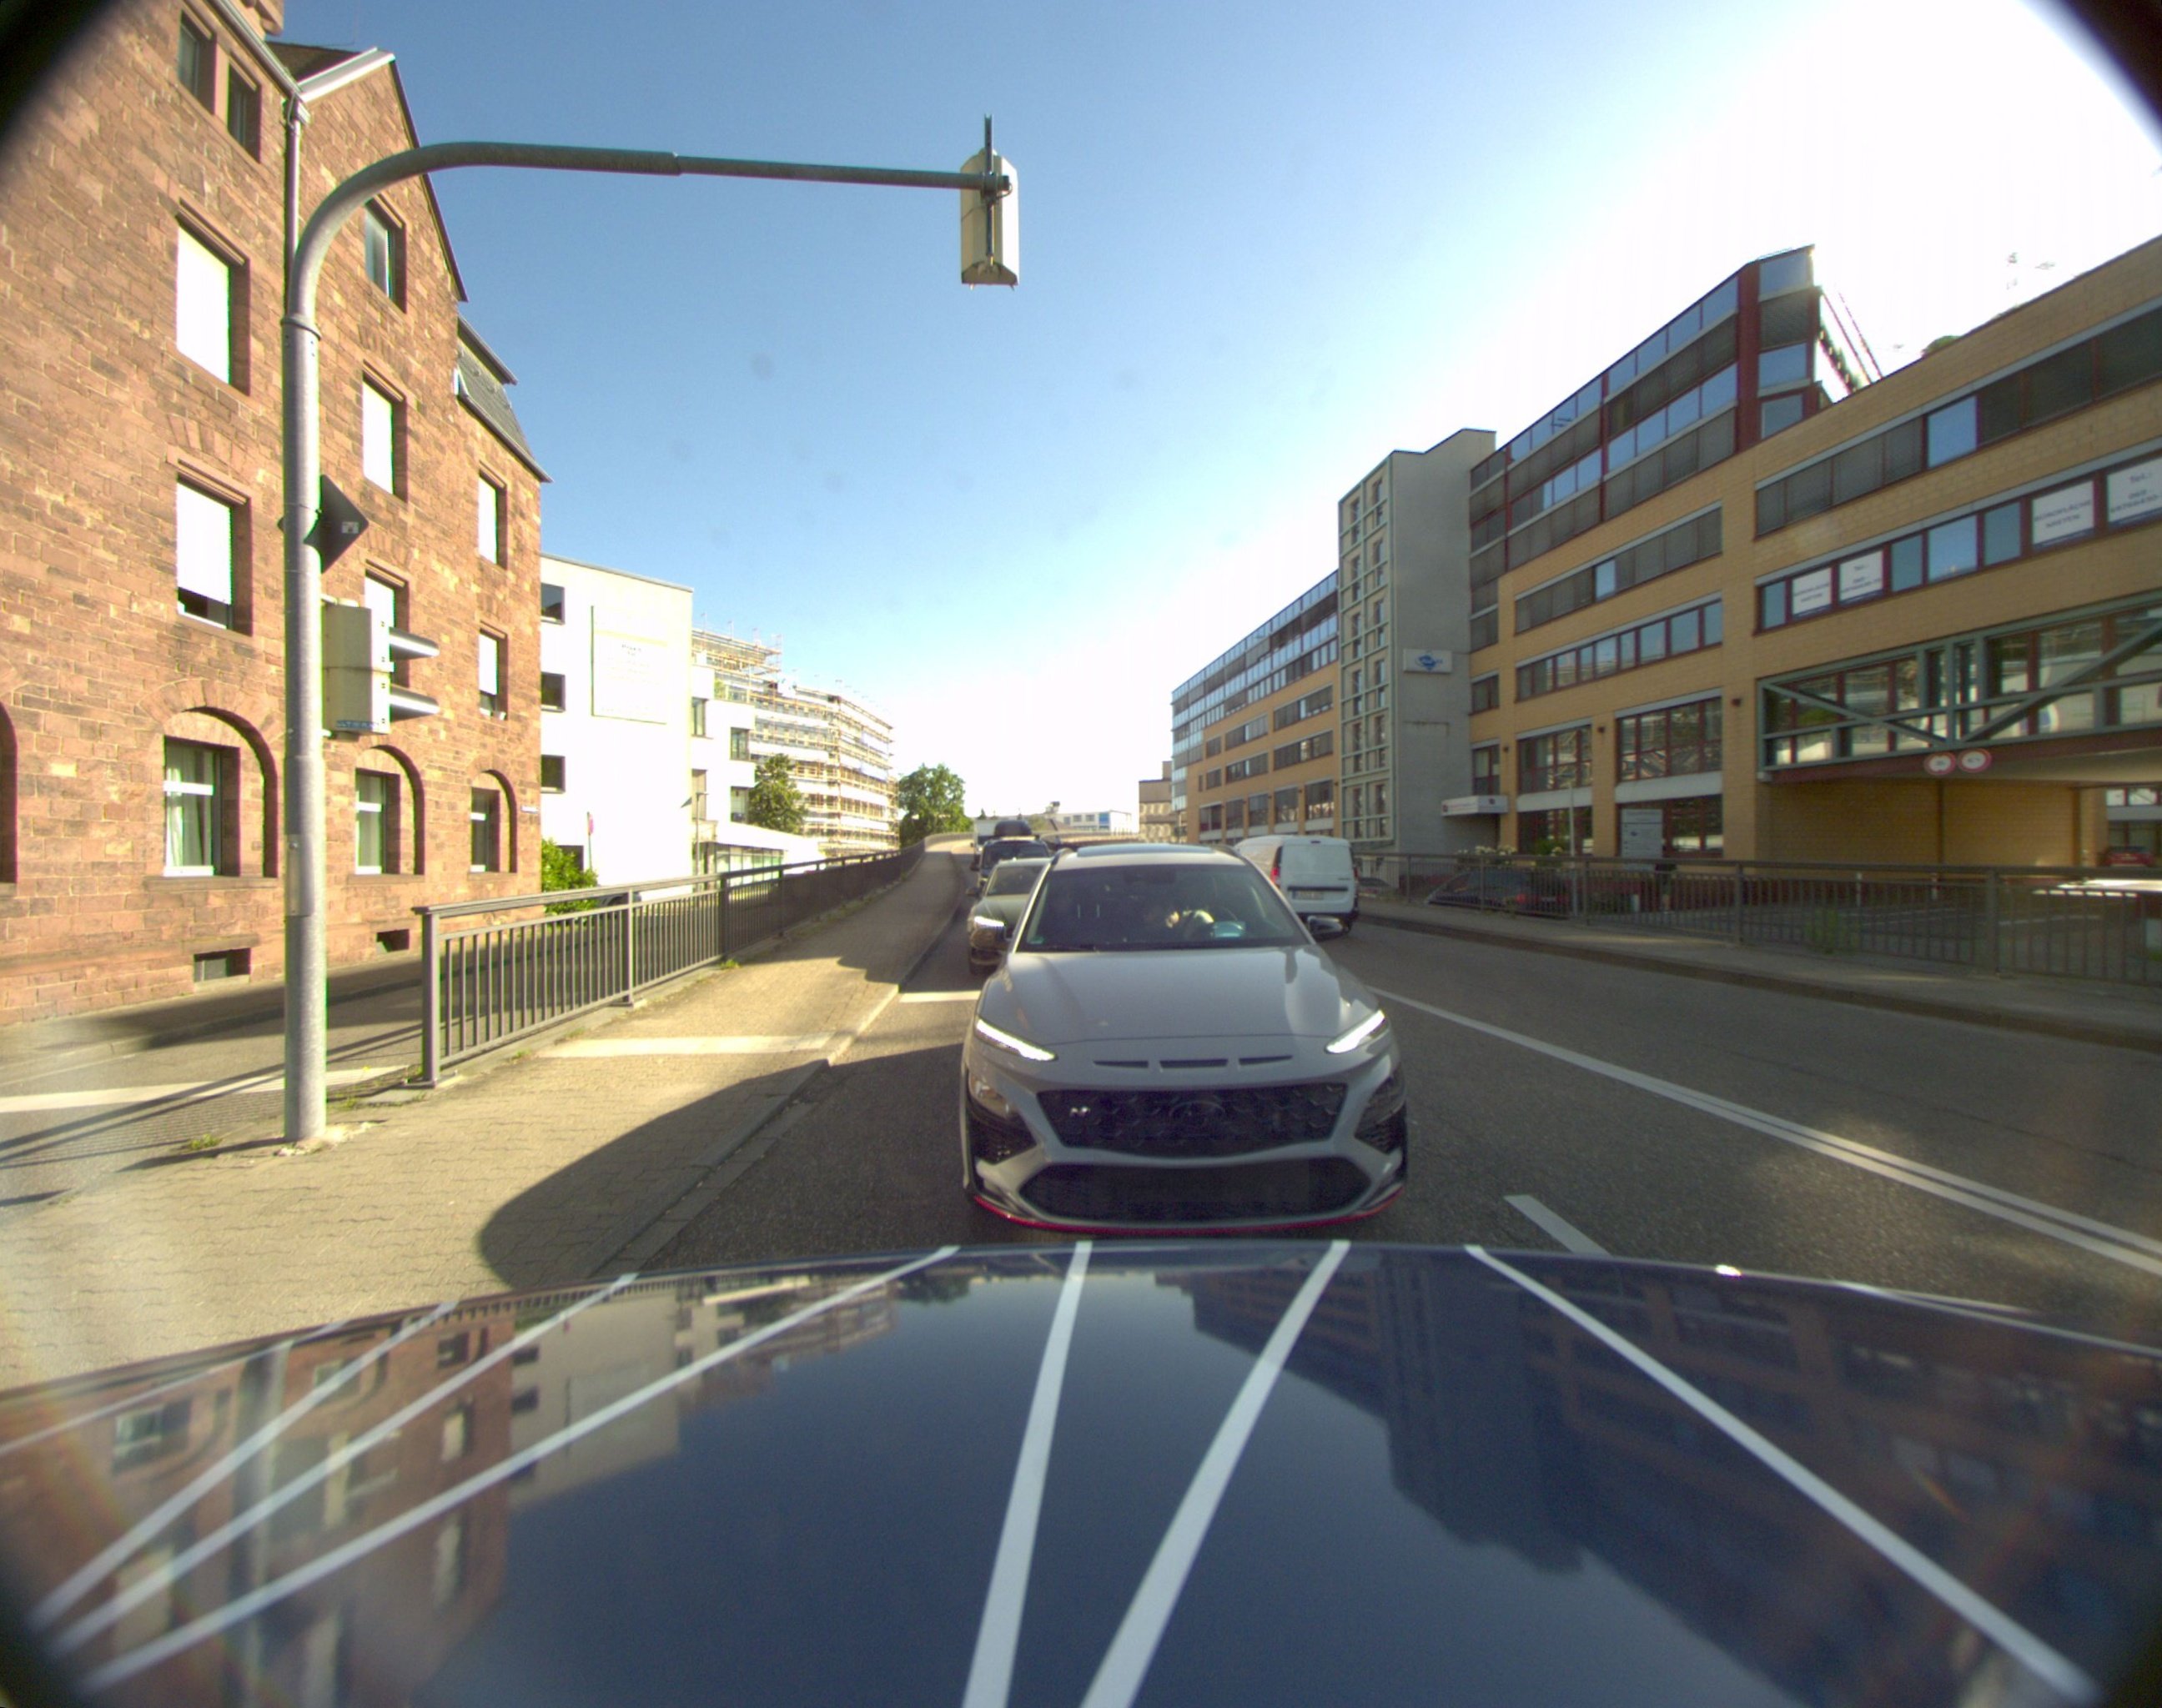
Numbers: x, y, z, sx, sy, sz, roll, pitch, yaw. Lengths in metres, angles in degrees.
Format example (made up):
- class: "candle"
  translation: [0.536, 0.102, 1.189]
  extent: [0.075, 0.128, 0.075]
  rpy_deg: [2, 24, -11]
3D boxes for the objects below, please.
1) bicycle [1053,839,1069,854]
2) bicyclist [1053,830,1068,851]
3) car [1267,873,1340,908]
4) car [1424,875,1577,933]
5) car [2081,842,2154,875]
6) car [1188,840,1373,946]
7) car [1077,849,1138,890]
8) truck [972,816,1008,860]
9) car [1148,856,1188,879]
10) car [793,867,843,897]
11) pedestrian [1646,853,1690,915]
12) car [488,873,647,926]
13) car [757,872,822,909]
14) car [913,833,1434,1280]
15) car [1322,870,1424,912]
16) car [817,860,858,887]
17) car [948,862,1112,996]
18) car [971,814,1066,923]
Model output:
- class: "bicycle"
  translation: [-1.815, -0.659, 68.090]
  extent: [1.083, 1.223, 2.781]
  rpy_deg: [-2, 1, -9]
- class: "bicyclist"
  translation: [-1.833, -1.181, 68.040]
  extent: [1.083, 1.861, 1.083]
  rpy_deg: [-2, 1, -9]
- class: "car"
  translation: [10.735, 1.725, 36.985]
  extent: [1.885, 1.554, 3.997]
  rpy_deg: [0, -1, -9]
- class: "car"
  translation: [12.437, 1.413, 22.845]
  extent: [1.639, 1.514, 4.156]
  rpy_deg: [0, -1, -14]
- class: "car"
  translation: [54.036, 0.225, 39.671]
  extent: [4.007, 1.512, 1.763]
  rpy_deg: [-3, 1, -43]
- class: "car"
  translation: [3.640, 0.617, 14.836]
  extent: [1.838, 1.745, 4.485]
  rpy_deg: [0, 1, -9]
- class: "car"
  translation: [1.038, 0.598, 32.312]
  extent: [1.688, 1.593, 4.753]
  rpy_deg: [0, 1, -9]
- class: "truck"
  translation: [-6.885, -1.107, 57.281]
  extent: [2.504, 3.109, 6.956]
  rpy_deg: [-1, -1, -7]
- class: "car"
  translation: [6.390, 0.973, 56.084]
  extent: [2.000, 1.499, 3.997]
  rpy_deg: [-2, 1, -7]
- class: "car"
  translation: [-14.557, 1.505, 42.232]
  extent: [2.054, 1.522, 4.089]
  rpy_deg: [-1, -1, -11]
- class: "pedestrian"
  translation: [17.913, 0.908, 23.190]
  extent: [0.747, 1.840, 0.705]
  rpy_deg: [-2, 0, -5]
- class: "car"
  translation: [-17.041, 1.450, 25.325]
  extent: [4.101, 1.522, 1.914]
  rpy_deg: [0, -1, -44]
- class: "car"
  translation: [-13.345, 1.631, 34.990]
  extent: [2.054, 1.522, 4.089]
  rpy_deg: [-1, -1, -11]
- class: "car"
  translation: [0.404, 0.748, 4.860]
  extent: [1.878, 1.612, 4.197]
  rpy_deg: [0, 0, 2]
- class: "car"
  translation: [11.635, 1.415, 30.562]
  extent: [1.881, 1.514, 4.157]
  rpy_deg: [0, -1, -11]
- class: "car"
  translation: [-15.786, 1.239, 49.457]
  extent: [2.054, 1.676, 4.089]
  rpy_deg: [-1, -1, -11]
- class: "car"
  translation: [-0.755, 0.887, 11.105]
  extent: [1.879, 1.462, 4.633]
  rpy_deg: [0, 0, -4]
- class: "car"
  translation: [-1.528, 0.330, 18.301]
  extent: [1.951, 2.248, 4.783]
  rpy_deg: [0, -1, -5]
